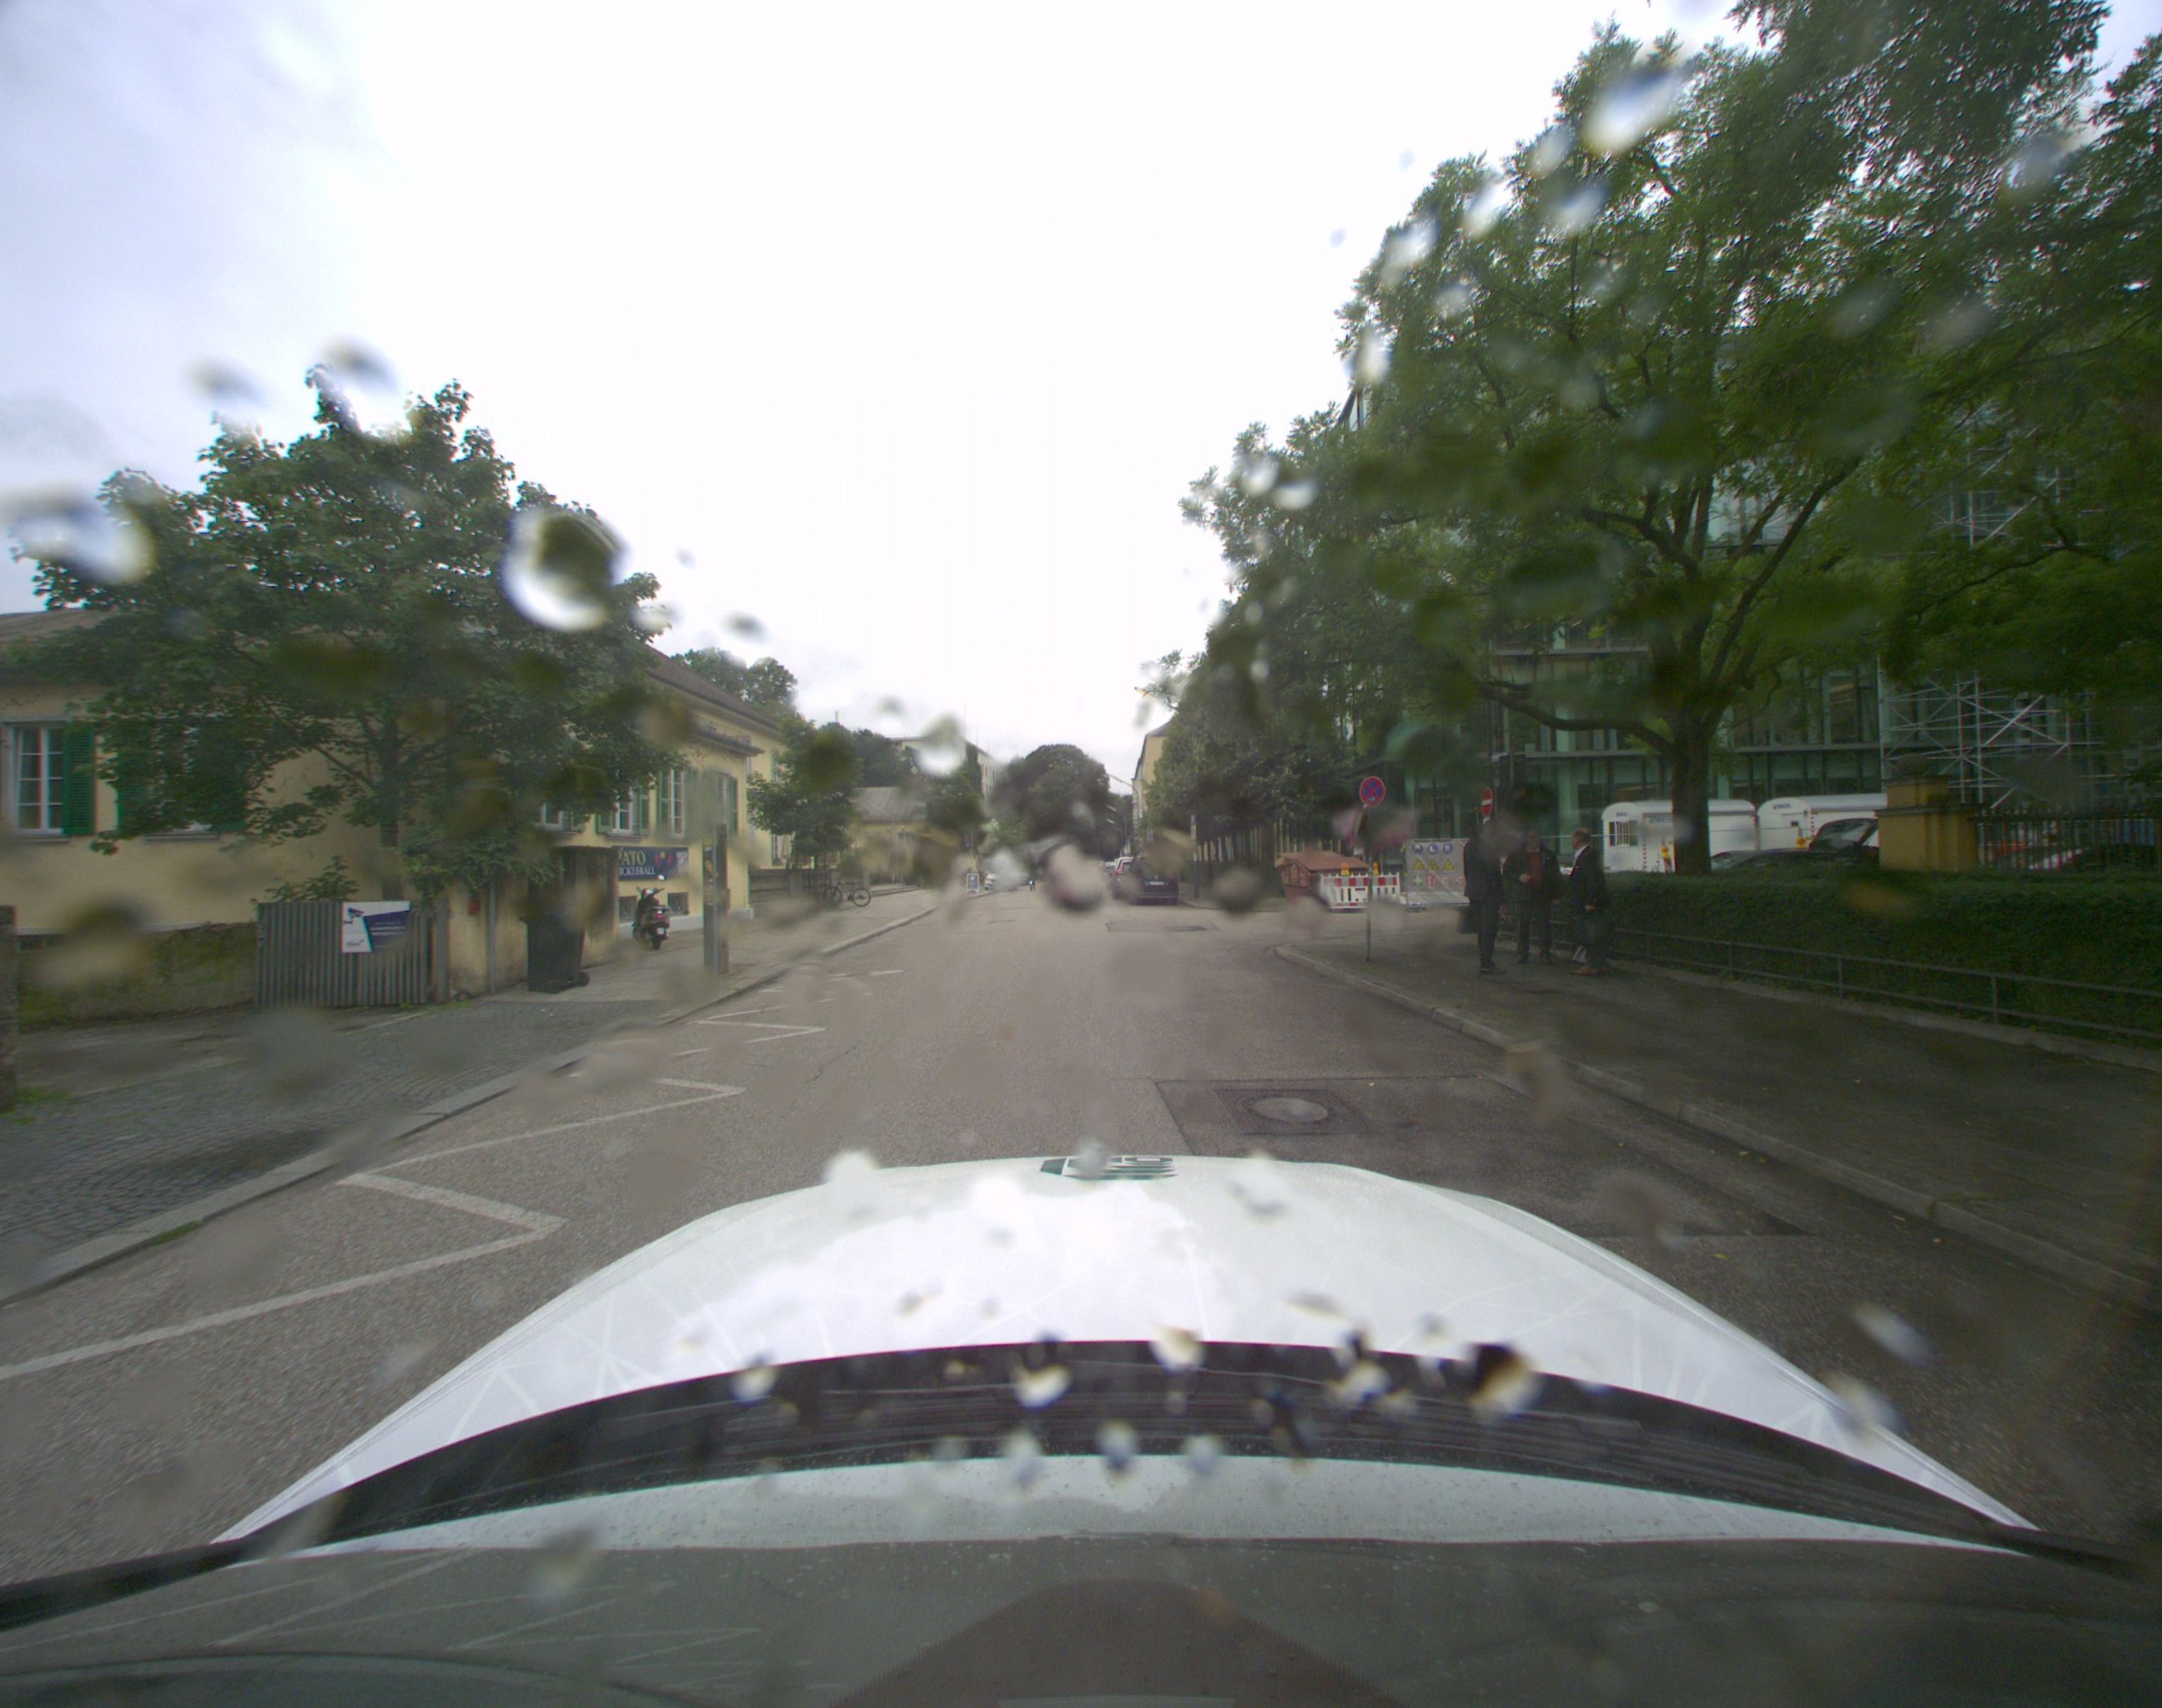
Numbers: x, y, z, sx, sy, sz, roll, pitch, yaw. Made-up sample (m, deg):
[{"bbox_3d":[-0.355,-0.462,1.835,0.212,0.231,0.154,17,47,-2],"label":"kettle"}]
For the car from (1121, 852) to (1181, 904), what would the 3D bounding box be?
[{"bbox_3d":[2.572,0.845,30.857,1.756,1.823,4.135,0,0,-2],"label":"car"}]

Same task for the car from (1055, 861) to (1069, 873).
[{"bbox_3d":[-2.731,1.821,116.406,1.804,1.683,3.999,-1,0,0],"label":"car"}]

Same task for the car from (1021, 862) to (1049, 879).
[{"bbox_3d":[-4.134,1.495,74.115,1.985,1.486,4.004,1,0,4],"label":"car"}]

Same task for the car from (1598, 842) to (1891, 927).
[{"bbox_3d":[12.900,0.580,16.055,4.188,1.486,1.870,-1,-1,2],"label":"car"}]

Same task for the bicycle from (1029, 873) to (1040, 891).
[{"bbox_3d":[-2.769,1.660,48.277,0.620,1.004,2.137,-1,0,-3],"label":"bicycle"}]

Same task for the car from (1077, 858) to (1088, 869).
[{"bbox_3d":[0.336,1.810,154.254,1.987,2.099,3.999,2,0,0],"label":"car"}]

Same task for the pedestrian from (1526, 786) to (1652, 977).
[{"bbox_3d":[6.042,0.315,9.743,0.741,2.135,1.054,-2,-1,-3],"label":"pedestrian"}]

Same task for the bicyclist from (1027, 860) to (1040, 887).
[{"bbox_3d":[-2.816,1.155,48.316,0.741,1.576,0.976,-1,-1,-2],"label":"bicyclist"}]

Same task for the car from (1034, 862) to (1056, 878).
[{"bbox_3d":[-3.714,1.665,85.011,1.986,1.486,4.002,-1,0,2],"label":"car"}]

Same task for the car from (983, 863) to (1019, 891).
[{"bbox_3d":[-4.808,1.353,49.433,1.728,1.581,3.788,2,-1,1],"label":"car"}]

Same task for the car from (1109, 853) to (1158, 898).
[{"bbox_3d":[2.238,0.891,35.667,1.856,1.794,4.509,-1,0,1],"label":"car"}]

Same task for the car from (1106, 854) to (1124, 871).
[{"bbox_3d":[4.360,1.089,104.949,1.988,2.060,4.620,-1,0,-2],"label":"car"}]

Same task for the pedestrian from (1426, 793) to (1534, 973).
[{"bbox_3d":[5.002,0.344,10.291,0.741,2.135,1.054,-2,-1,-3],"label":"pedestrian"}]

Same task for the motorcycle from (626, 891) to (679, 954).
[{"bbox_3d":[-8.420,1.316,15.971,0.561,1.101,1.817,1,-1,-39],"label":"motorcycle"}]

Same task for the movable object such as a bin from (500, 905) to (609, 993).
[{"bbox_3d":[-7.080,1.257,10.995,0.933,1.064,0.839,-1,0,-5],"label":"movable object such as a bin"}]

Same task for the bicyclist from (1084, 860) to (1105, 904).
[{"bbox_3d":[0.466,0.969,28.482,0.669,1.498,1.095,-1,-2,0],"label":"bicyclist"}]

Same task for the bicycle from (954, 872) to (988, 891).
[{"bbox_3d":[-6.055,1.494,44.859,0.615,1.004,2.153,1,0,31],"label":"bicycle"}]

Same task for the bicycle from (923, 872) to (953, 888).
[{"bbox_3d":[-8.599,1.544,49.017,1.622,0.926,0.646,-1,-2,-27],"label":"bicycle"}]

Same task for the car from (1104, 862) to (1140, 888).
[{"bbox_3d":[2.339,1.197,47.409,1.857,1.440,4.255,0,-1,0],"label":"car"}]

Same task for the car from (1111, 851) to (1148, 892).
[{"bbox_3d":[2.448,0.856,41.884,1.743,1.943,4.228,-1,0,1],"label":"car"}]

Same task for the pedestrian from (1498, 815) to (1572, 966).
[{"bbox_3d":[6.117,0.464,10.958,0.735,1.907,1.062,-2,-1,33],"label":"pedestrian"}]

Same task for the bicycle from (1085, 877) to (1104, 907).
[{"bbox_3d":[0.465,1.301,28.373,0.619,1.004,2.140,-1,-2,1],"label":"bicycle"}]

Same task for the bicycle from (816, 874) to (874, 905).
[{"bbox_3d":[-8.641,1.290,29.847,1.924,1.099,0.615,1,-1,0],"label":"bicycle"}]

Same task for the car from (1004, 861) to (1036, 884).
[{"bbox_3d":[-4.608,1.344,62.035,1.987,1.648,4.655,-1,-1,1],"label":"car"}]

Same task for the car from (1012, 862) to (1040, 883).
[{"bbox_3d":[-4.503,1.523,67.090,1.988,1.603,3.998,-1,-1,-1],"label":"car"}]

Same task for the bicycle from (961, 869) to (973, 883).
[{"bbox_3d":[-8.539,1.661,60.981,0.619,1.004,1.620,-1,-2,4],"label":"bicycle"}]

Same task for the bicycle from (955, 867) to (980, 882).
[{"bbox_3d":[-7.779,1.427,55.901,1.624,1.004,0.617,0,-2,-32],"label":"bicycle"}]
